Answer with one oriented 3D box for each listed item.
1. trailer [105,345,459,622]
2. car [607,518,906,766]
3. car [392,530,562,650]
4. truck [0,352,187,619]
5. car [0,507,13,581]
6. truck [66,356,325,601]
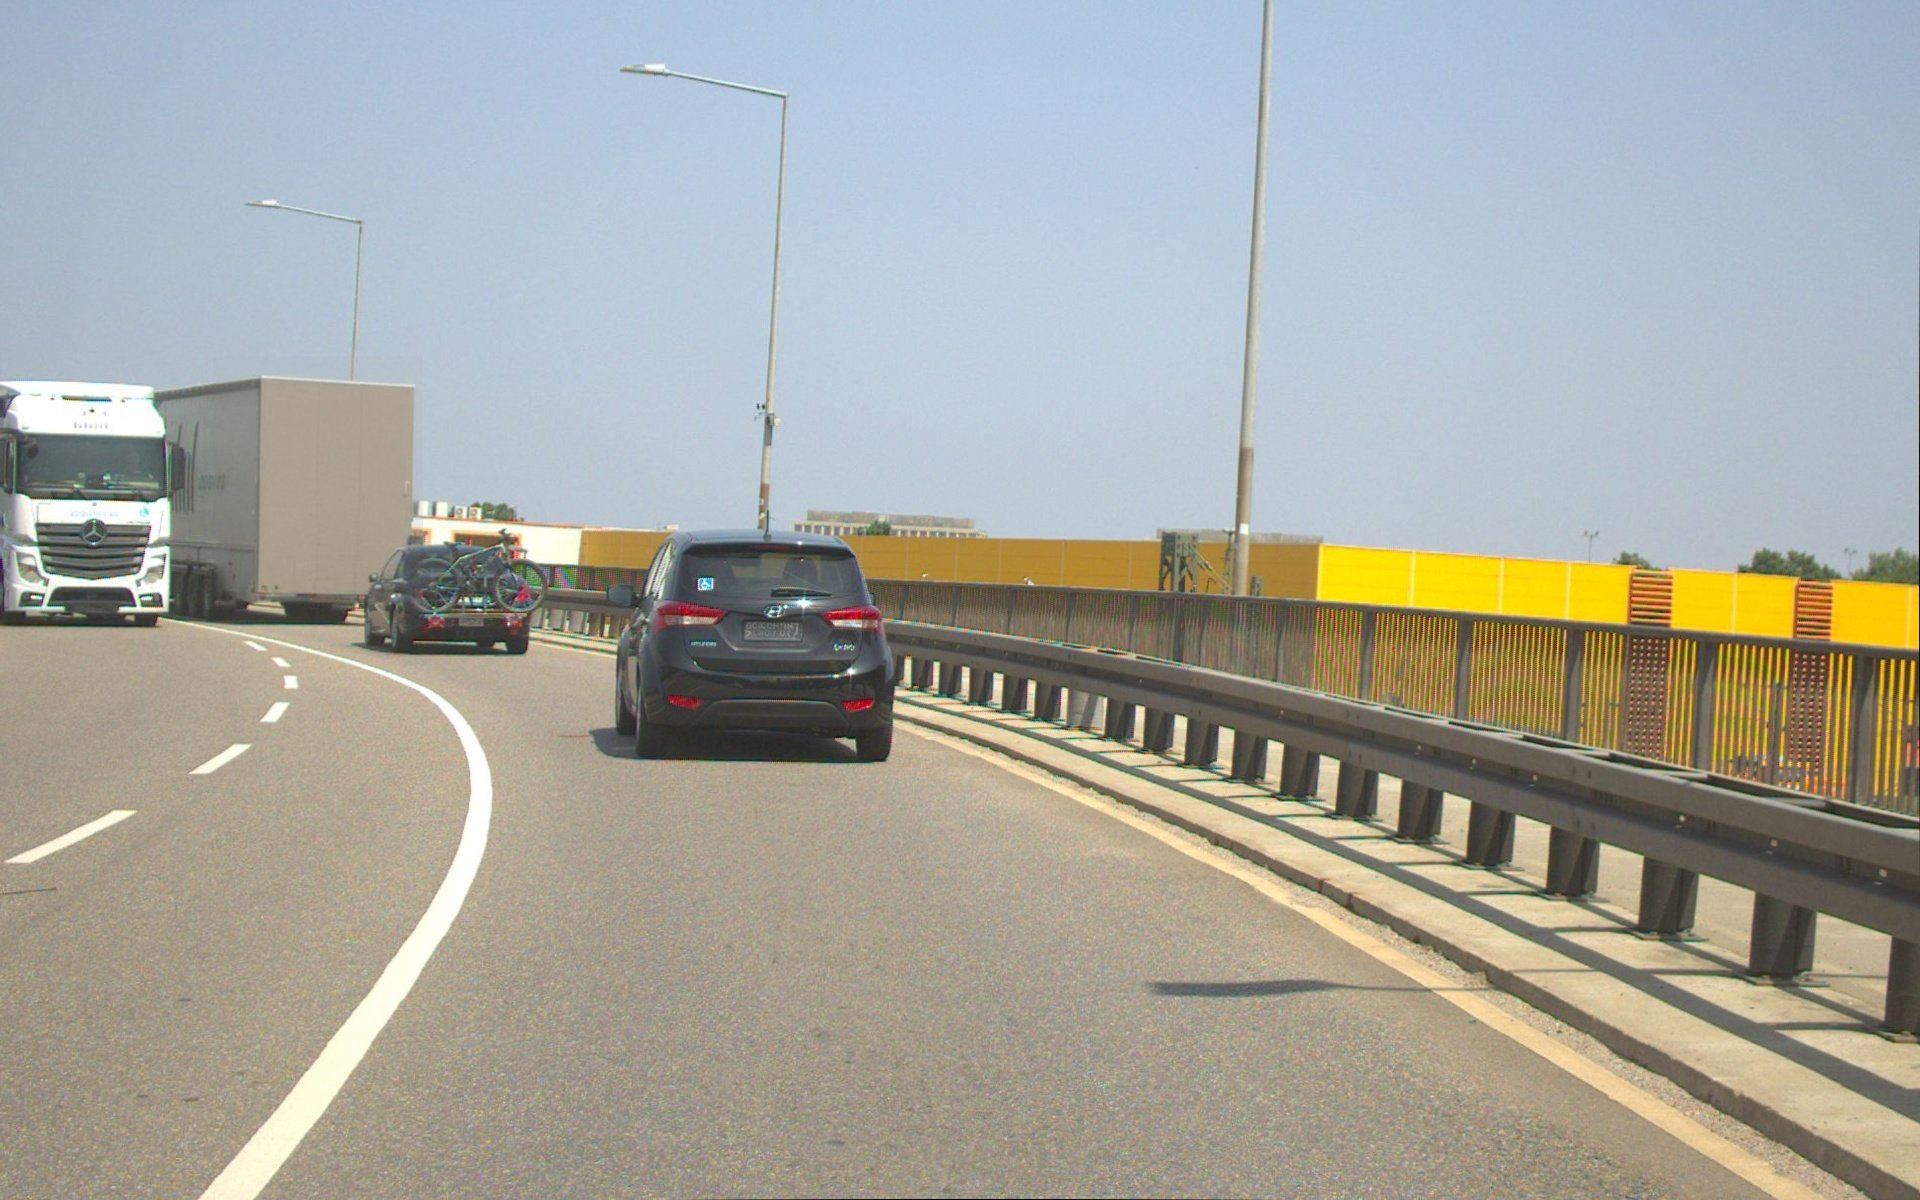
[{"bbox_3d":[-12.305,-2.079,61.223,3.569,4.369,11.444,2,1,-24],"label":"trailer"},{"bbox_3d":[-1.499,0.234,24.744,1.921,1.568,3.892,2,1,-4],"label":"car"},{"bbox_3d":[-6.311,-0.160,45.237,2.011,1.424,3.777,2,1,-6],"label":"car"},{"bbox_3d":[-14.334,-1.841,55.677,2.705,3.978,6.188,2,1,-19],"label":"truck"},{"bbox_3d":[-19.313,-1.137,66.180,1.558,1.381,3.616,2,1,-24],"label":"car"},{"bbox_3d":[-14.996,-2.360,67.049,3.571,4.425,6.517,2,1,-24],"label":"truck"}]
